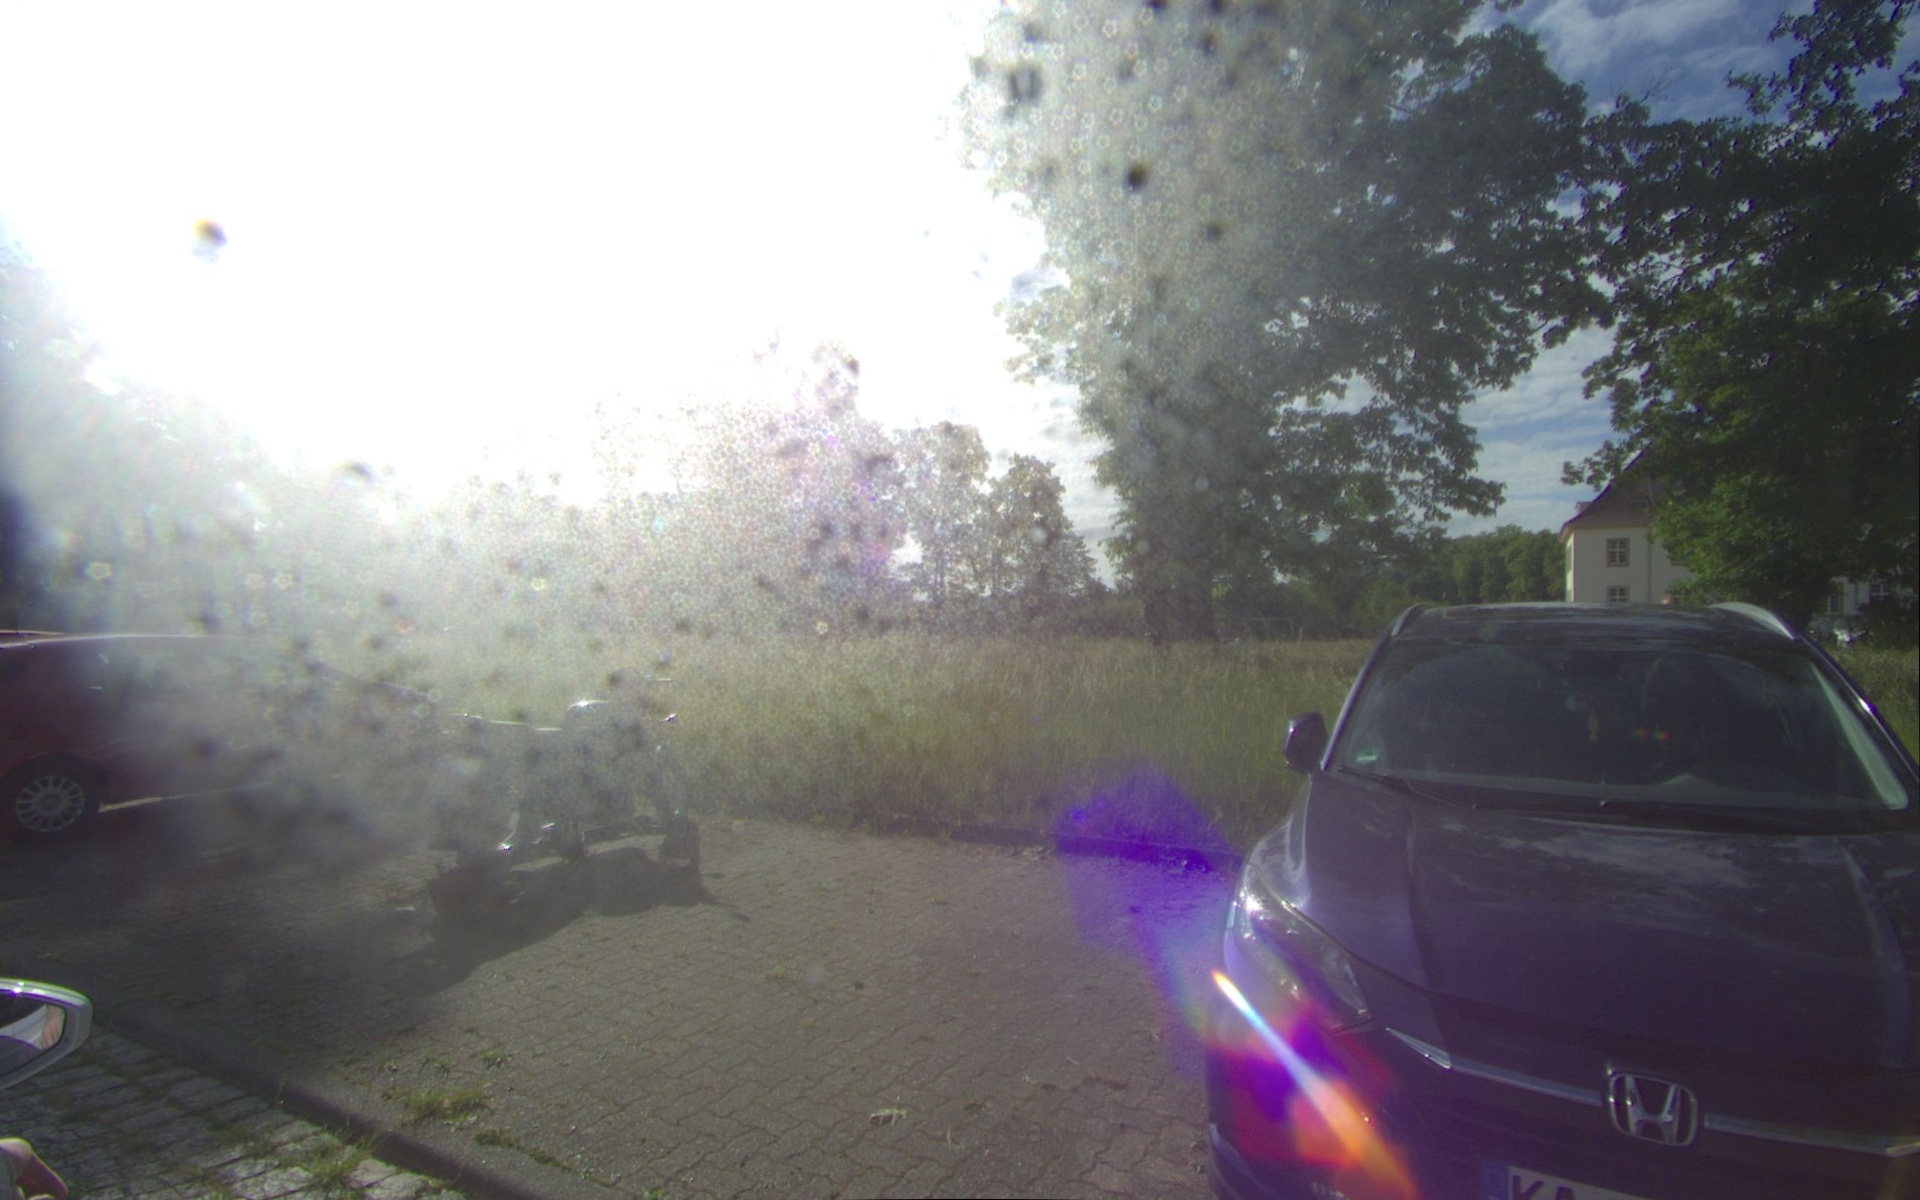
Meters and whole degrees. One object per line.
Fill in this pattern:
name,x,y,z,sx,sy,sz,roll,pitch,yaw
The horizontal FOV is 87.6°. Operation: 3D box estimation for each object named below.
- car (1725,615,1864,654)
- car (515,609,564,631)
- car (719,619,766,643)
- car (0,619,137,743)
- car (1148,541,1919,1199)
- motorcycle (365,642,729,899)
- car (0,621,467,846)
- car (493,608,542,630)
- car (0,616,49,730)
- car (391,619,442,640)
car,49.550,2.092,59.582,2.348,2.199,5.972,1,-3,-37
car,-39.955,1.945,95.247,1.970,2.039,3.983,0,-1,30
car,-19.227,2.726,88.704,1.970,2.039,3.983,0,-1,30
car,-12.912,1.010,12.497,1.620,1.550,3.760,0,-1,28
car,2.146,0.771,3.426,1.725,1.611,4.173,0,-1,29
motorcycle,-2.598,0.986,6.669,0.715,1.337,2.297,0,0,29
car,-6.508,0.954,8.630,1.620,1.498,3.823,0,-1,29
car,-42.610,1.860,96.439,1.970,2.039,3.983,0,-1,30
car,-15.296,1.030,13.637,1.745,1.642,3.933,0,-1,28
car,-52.735,2.847,97.207,1.970,2.039,3.983,0,-1,30
